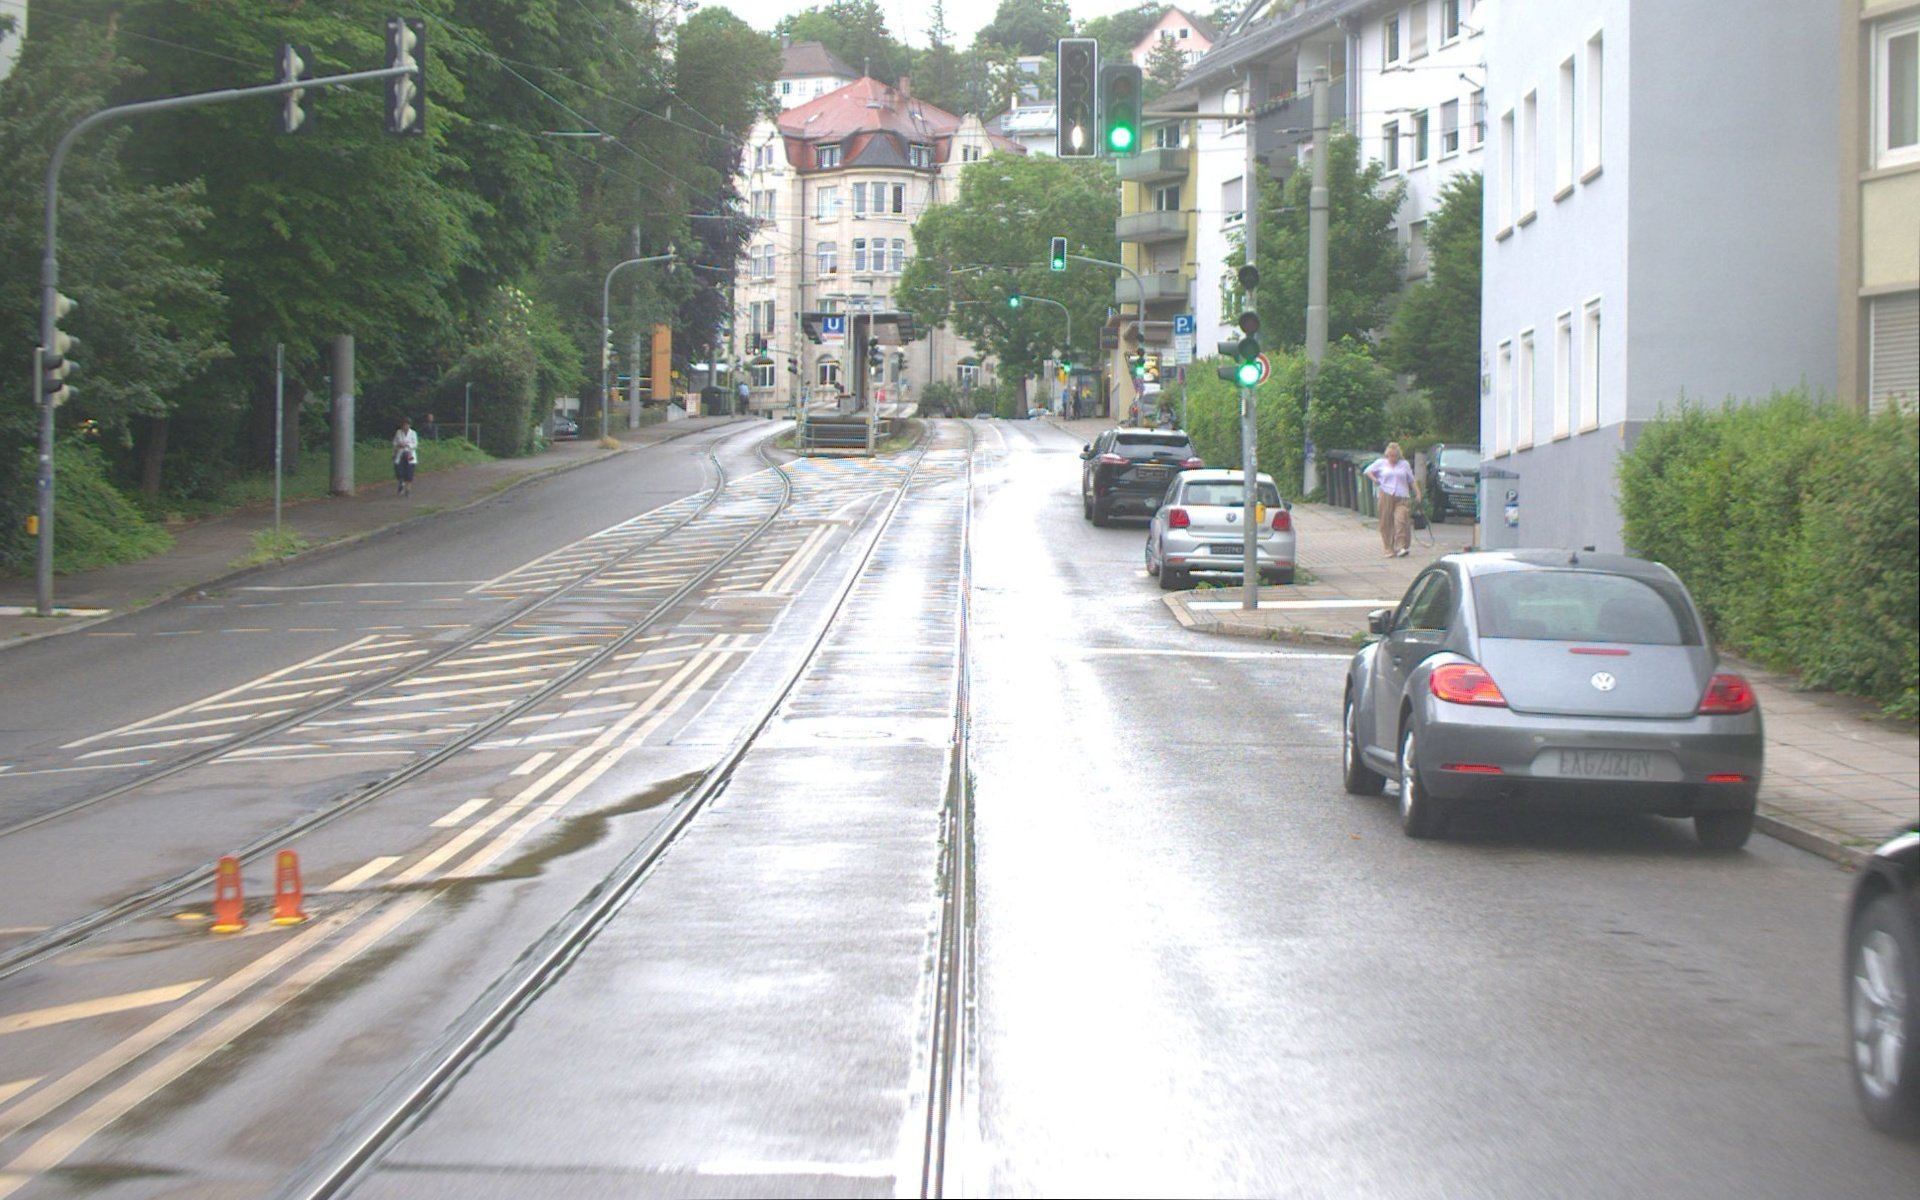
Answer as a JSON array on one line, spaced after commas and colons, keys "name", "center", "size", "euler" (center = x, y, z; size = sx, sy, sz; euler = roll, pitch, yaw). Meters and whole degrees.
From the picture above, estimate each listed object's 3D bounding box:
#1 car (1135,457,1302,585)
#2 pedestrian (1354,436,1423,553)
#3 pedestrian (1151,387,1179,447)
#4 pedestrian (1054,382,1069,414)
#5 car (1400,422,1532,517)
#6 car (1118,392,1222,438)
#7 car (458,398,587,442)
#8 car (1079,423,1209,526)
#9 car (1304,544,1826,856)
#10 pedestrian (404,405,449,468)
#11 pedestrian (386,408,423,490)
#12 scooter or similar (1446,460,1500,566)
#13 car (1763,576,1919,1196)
[{"name": "car", "center": [3.240, -1.039, 43.716], "size": [1.704, 1.428, 4.102], "euler": [2, 3, -1]}, {"name": "pedestrian", "center": [5.928, -1.466, 47.620], "size": [0.882, 1.577, 0.801], "euler": [0, 5, 2]}, {"name": "pedestrian", "center": [5.600, -4.992, 93.729], "size": [0.644, 1.623, 0.699], "euler": [2, 2, 11]}, {"name": "pedestrian", "center": [4.825, -9.594, 163.030], "size": [0.578, 1.461, 0.544], "euler": [2, 0, -8]}, {"name": "car", "center": [9.145, -2.339, 62.425], "size": [1.720, 1.509, 4.204], "euler": [2, 0, 0]}, {"name": "car", "center": [8.314, -7.330, 136.456], "size": [3.987, 1.640, 1.808], "euler": [2, 1, 0]}, {"name": "car", "center": [-14.761, -6.079, 116.111], "size": [3.992, 1.401, 1.680], "euler": [1, 0, 23]}, {"name": "car", "center": [3.164, -2.225, 60.019], "size": [1.906, 1.636, 4.690], "euler": [2, 3, -1]}, {"name": "car", "center": [3.147, 0.453, 18.777], "size": [1.939, 1.459, 4.207], "euler": [2, 1, -2]}, {"name": "pedestrian", "center": [-14.445, -4.420, 93.099], "size": [0.917, 1.672, 0.739], "euler": [1, 0, 29]}, {"name": "pedestrian", "center": [-11.042, -3.001, 68.333], "size": [0.583, 1.594, 0.869], "euler": [3, 2, -4]}, {"name": "scooter or similar", "center": [6.611, -1.129, 44.346], "size": [0.575, 1.245, 1.610], "euler": [2, 5, 5]}, {"name": "car", "center": [3.284, 0.739, 7.475], "size": [1.858, 1.482, 4.645], "euler": [2, 1, -1]}]
